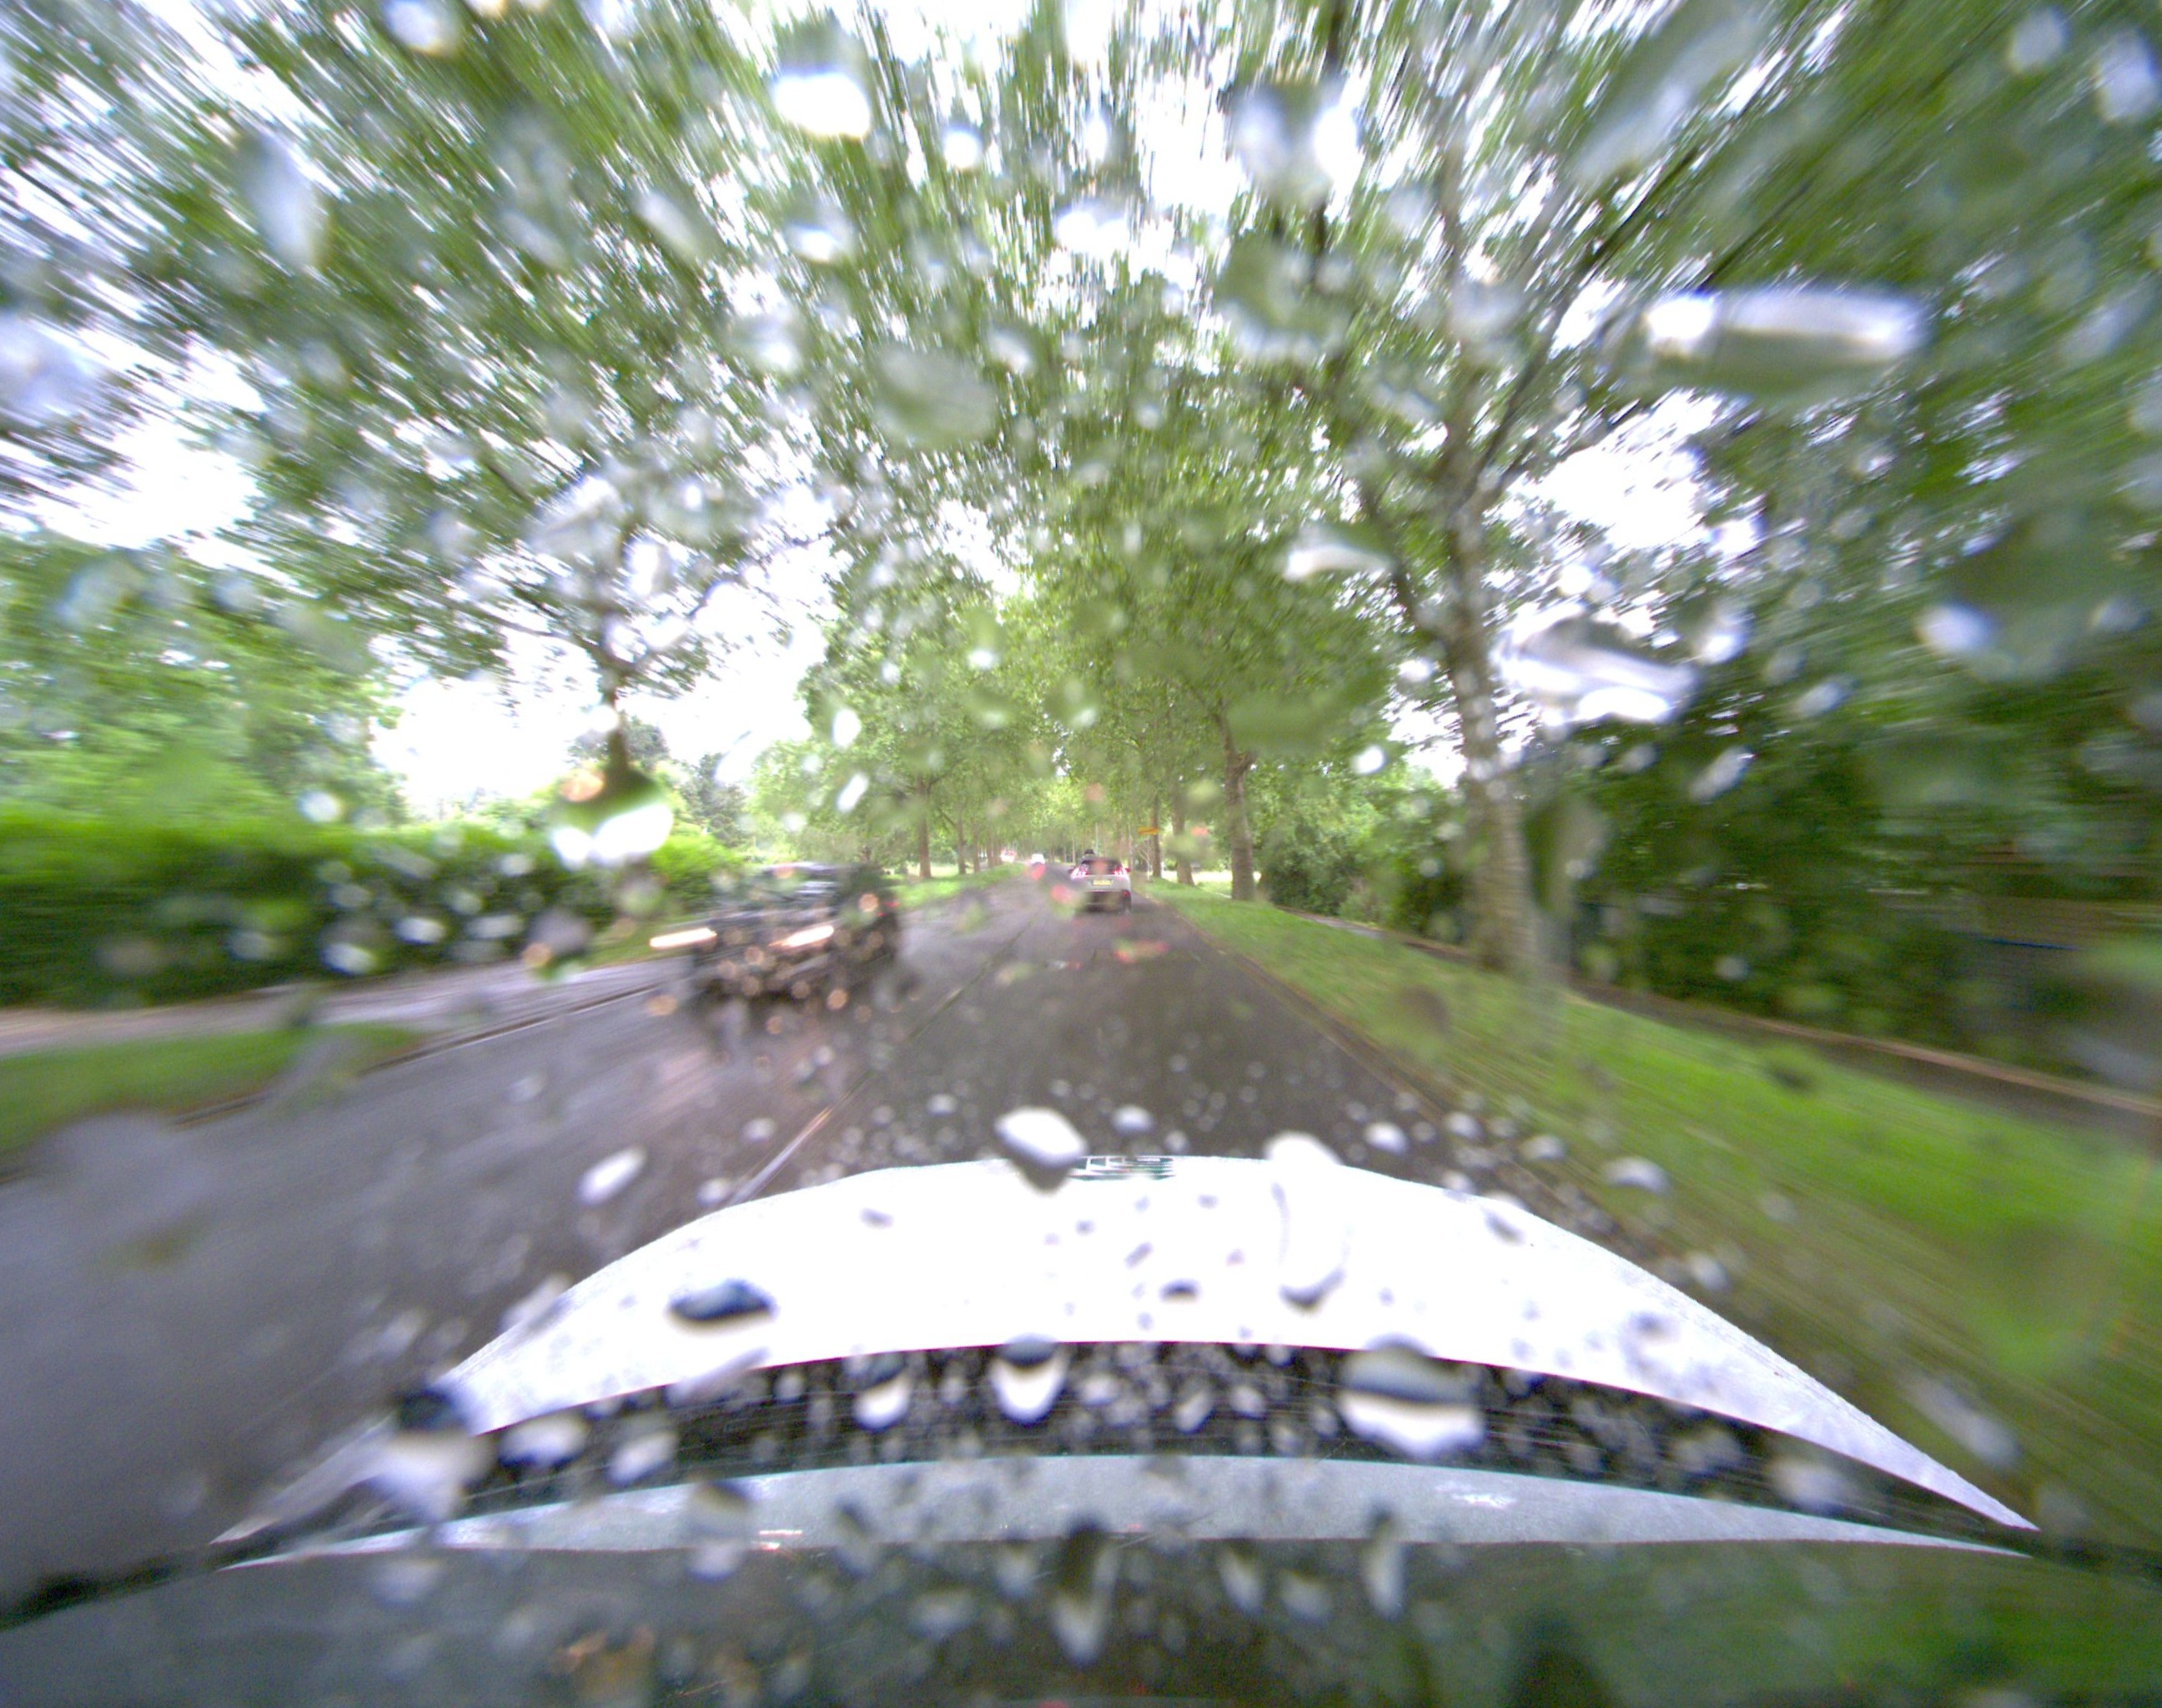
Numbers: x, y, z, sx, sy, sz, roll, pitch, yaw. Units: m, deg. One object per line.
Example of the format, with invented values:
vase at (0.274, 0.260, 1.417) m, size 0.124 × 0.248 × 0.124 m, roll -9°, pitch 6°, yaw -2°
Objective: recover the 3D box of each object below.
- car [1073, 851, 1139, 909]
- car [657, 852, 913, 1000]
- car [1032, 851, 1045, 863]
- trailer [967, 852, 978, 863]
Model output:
car at (0.763, 0.723, 24.495) m, size 1.787 × 1.578 × 3.846 m, roll 1°, pitch 0°, yaw 2°
car at (-3.453, 0.752, 10.376) m, size 1.840 × 1.502 × 3.998 m, roll 1°, pitch 0°, yaw -1°
car at (-6.757, 0.456, 129.794) m, size 1.858 × 1.750 × 5.012 m, roll 1°, pitch 0°, yaw -2°
trailer at (-25.045, 0.856, 187.722) m, size 2.483 × 2.567 × 5.319 m, roll 1°, pitch 0°, yaw -7°
